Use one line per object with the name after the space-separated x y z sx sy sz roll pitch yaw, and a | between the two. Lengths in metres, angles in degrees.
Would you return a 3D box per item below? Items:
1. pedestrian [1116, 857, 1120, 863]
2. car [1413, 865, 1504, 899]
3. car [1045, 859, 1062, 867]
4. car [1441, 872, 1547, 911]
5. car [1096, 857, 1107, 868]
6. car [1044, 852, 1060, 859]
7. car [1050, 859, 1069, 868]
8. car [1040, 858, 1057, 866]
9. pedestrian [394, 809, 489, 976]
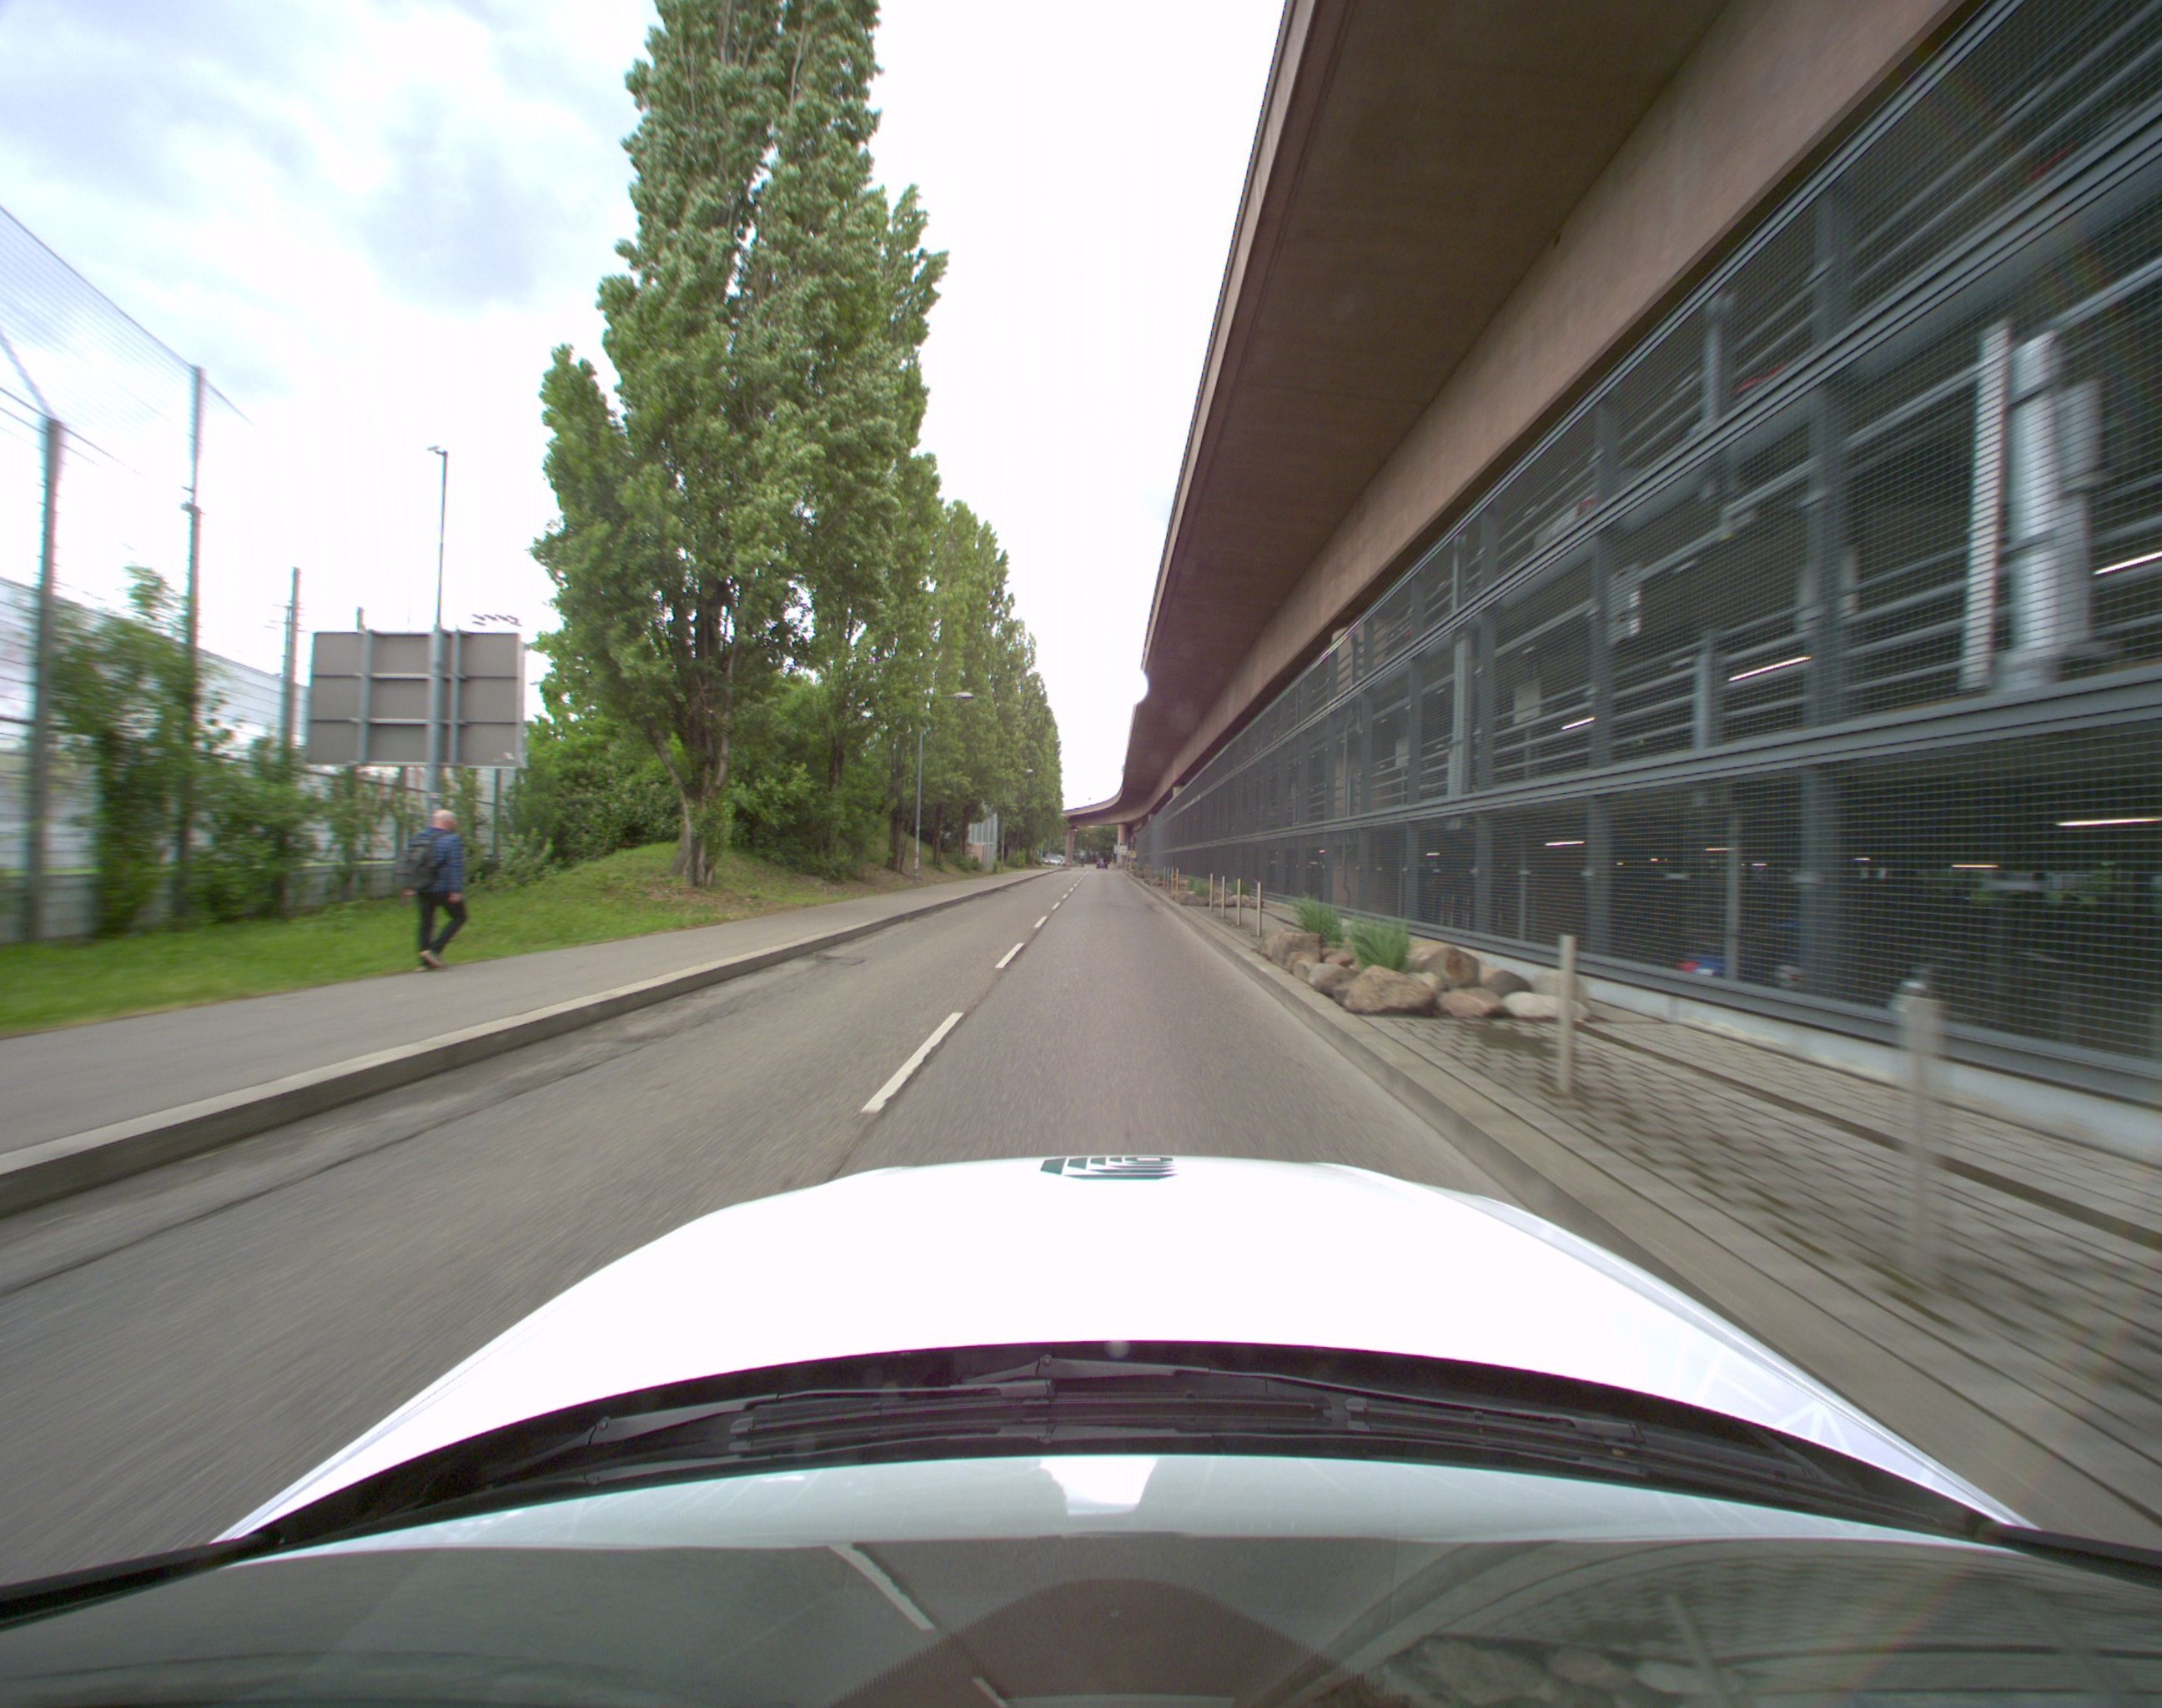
10.581 1.717 233.821 0.774 1.876 0.817 0 1 -29 | pedestrian
19.728 1.443 42.702 3.971 1.615 1.723 2 0 2 | car
-6.410 2.017 188.303 1.704 1.716 3.695 2 1 42 | car
19.098 1.711 37.740 3.972 1.615 1.835 2 0 1 | car
3.526 1.484 137.143 1.832 1.711 3.707 1 1 2 | car
-7.718 0.411 218.318 4.200 2.014 2.000 1 0 0 | car
-4.778 2.135 184.407 1.862 1.716 4.178 2 1 42 | car
-7.670 1.905 192.225 1.704 1.716 3.695 2 1 42 | car
-7.224 0.398 9.245 0.810 1.780 0.910 0 1 -37 | pedestrian
